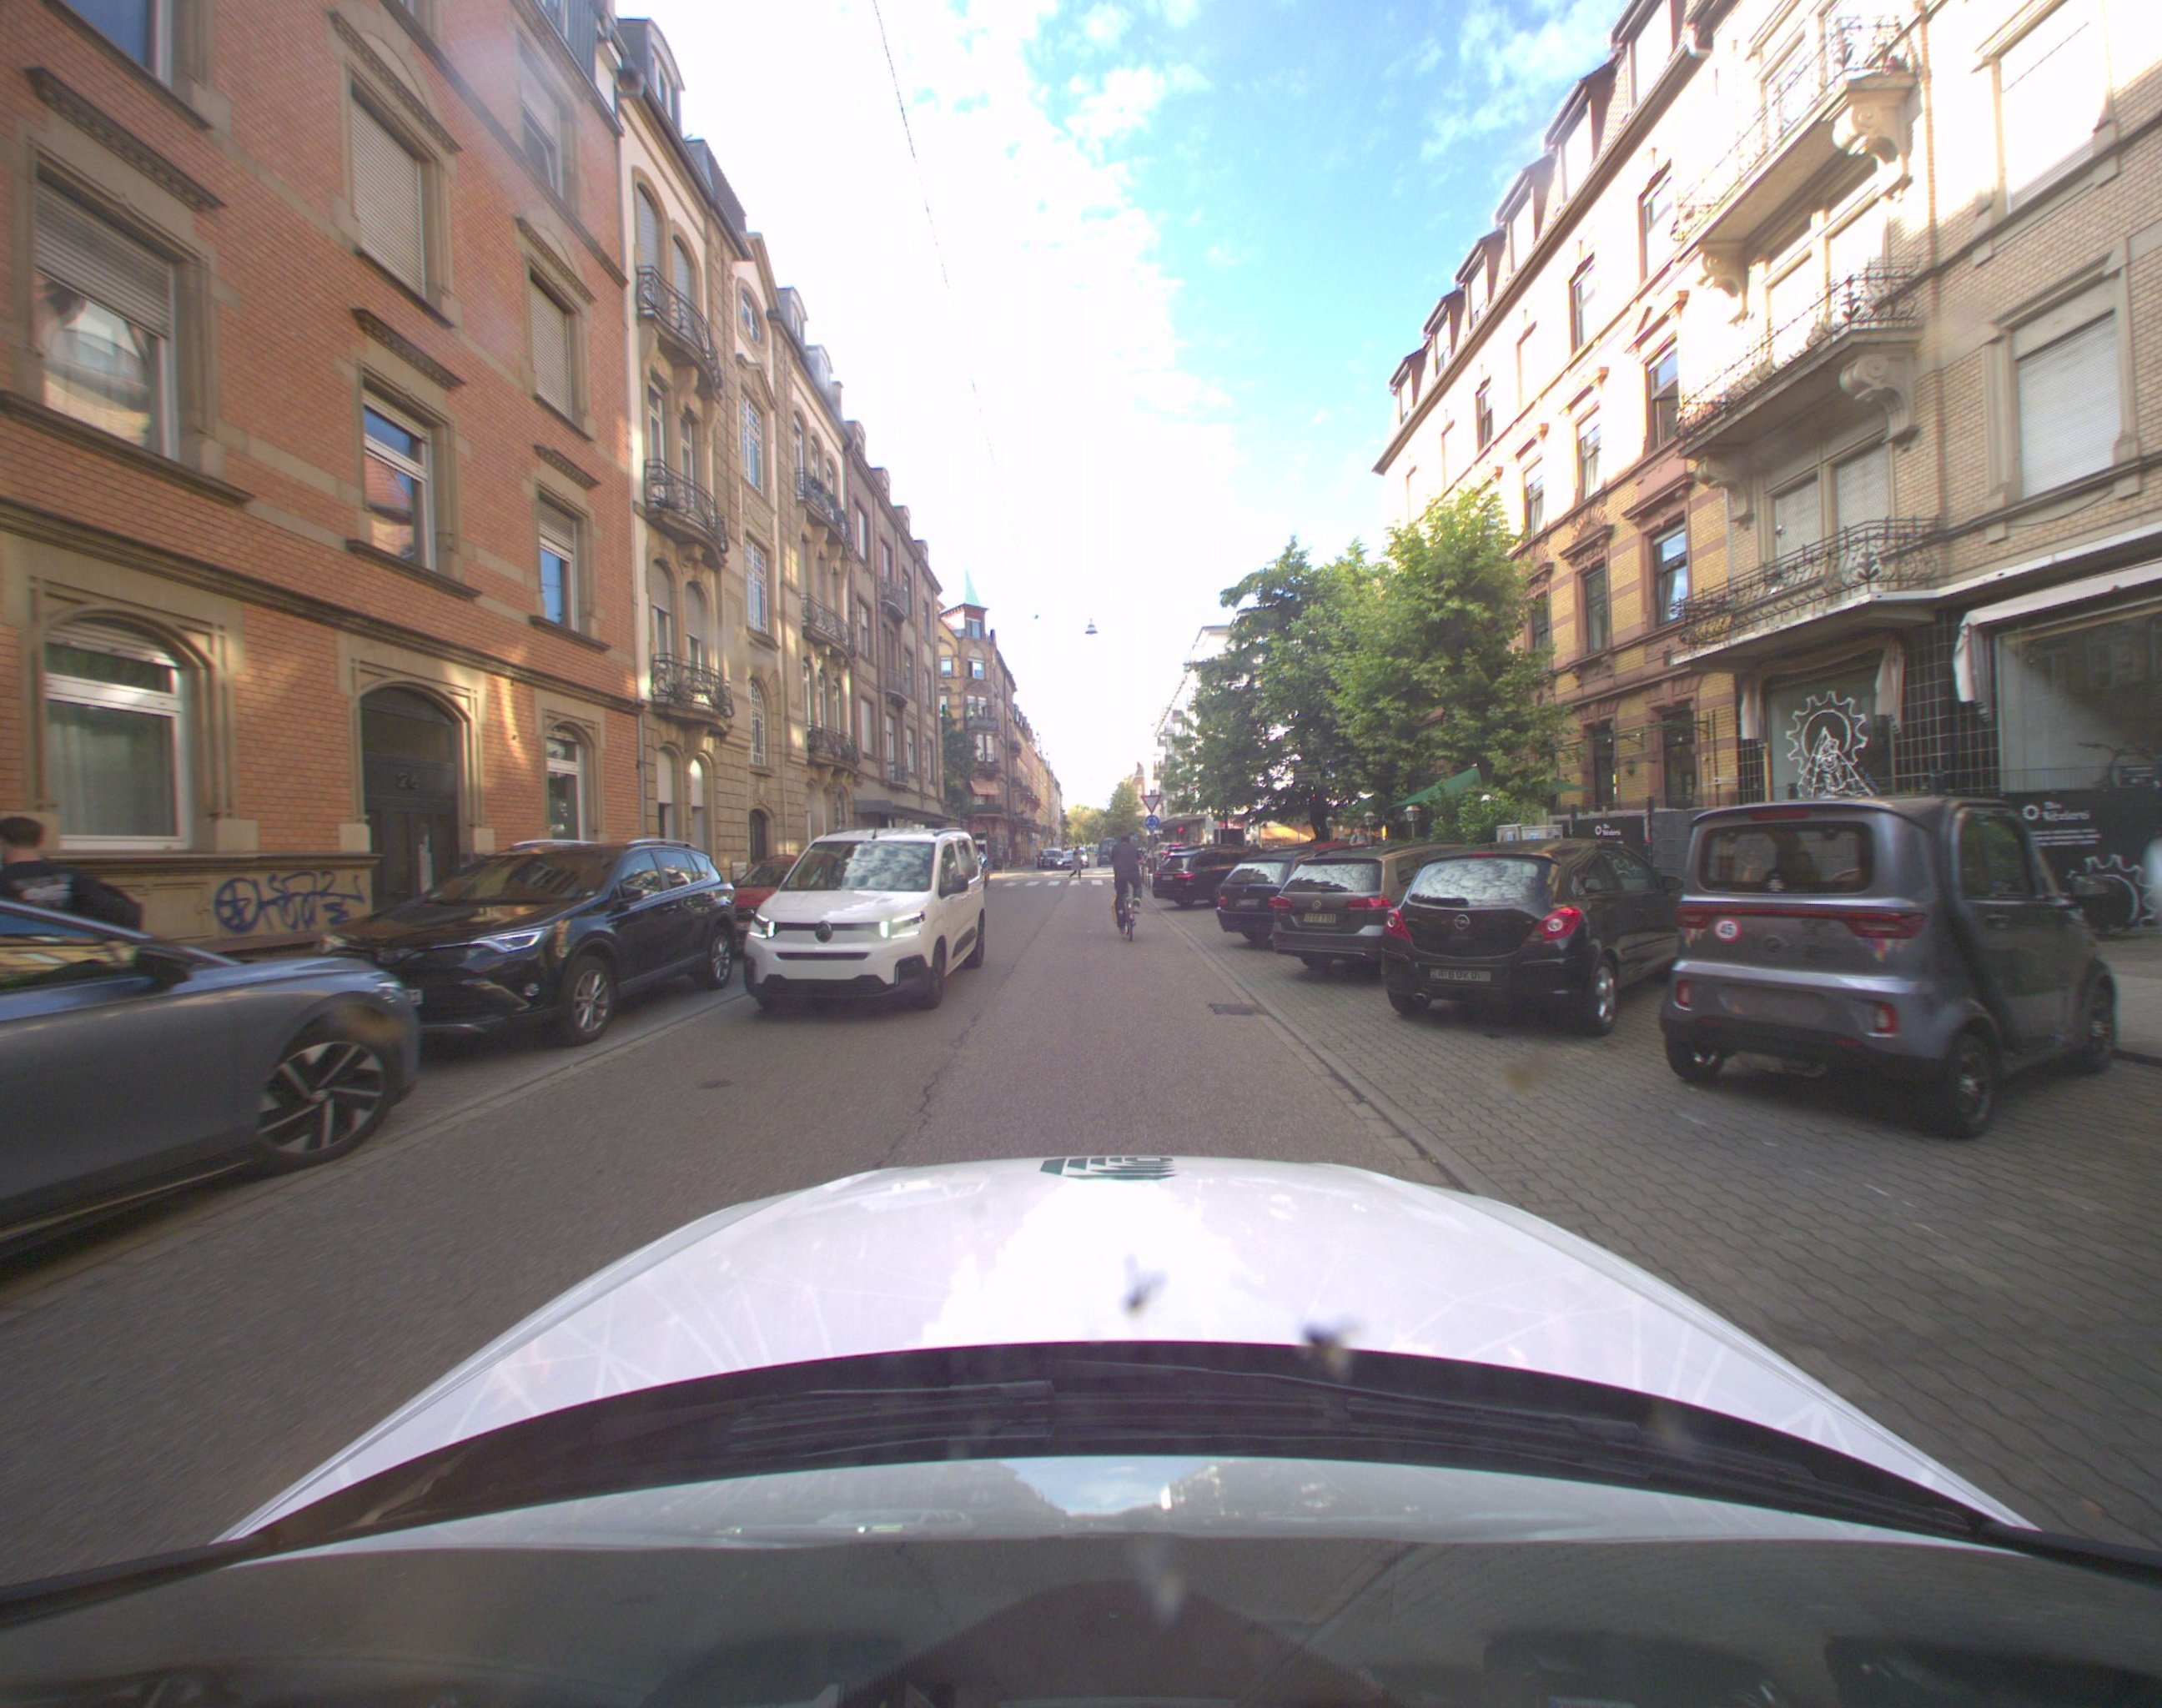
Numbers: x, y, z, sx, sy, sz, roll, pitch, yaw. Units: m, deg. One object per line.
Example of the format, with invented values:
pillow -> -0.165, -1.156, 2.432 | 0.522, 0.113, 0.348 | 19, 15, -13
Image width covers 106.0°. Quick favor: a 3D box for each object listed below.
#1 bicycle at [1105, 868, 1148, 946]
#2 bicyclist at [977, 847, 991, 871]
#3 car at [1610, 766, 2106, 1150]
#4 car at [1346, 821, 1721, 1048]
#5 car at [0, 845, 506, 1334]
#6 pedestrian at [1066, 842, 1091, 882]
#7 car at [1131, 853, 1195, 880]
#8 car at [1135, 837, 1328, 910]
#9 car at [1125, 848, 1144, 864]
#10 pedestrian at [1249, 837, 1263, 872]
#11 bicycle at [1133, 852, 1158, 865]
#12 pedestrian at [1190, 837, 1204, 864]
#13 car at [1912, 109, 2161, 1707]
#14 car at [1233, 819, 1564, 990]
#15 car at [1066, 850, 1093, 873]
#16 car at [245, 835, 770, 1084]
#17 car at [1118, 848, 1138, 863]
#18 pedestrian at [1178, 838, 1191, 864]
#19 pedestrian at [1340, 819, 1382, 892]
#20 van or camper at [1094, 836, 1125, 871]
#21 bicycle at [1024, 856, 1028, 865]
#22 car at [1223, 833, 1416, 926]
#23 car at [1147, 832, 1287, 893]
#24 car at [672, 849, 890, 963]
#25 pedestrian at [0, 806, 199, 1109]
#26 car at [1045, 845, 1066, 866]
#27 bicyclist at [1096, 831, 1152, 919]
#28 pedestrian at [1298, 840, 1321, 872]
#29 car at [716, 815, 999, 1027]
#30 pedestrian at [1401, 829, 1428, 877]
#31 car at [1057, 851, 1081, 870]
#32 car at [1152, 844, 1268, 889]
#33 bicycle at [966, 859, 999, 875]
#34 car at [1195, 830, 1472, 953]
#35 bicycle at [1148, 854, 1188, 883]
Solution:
bicycle -> 0.760, 0.864, 14.145 | 0.663, 1.178, 2.498 | -1, 0, 1
bicyclist -> -6.759, 0.343, 56.835 | 0.856, 1.665, 0.786 | -1, 0, -16
car -> 4.654, 0.427, 4.888 | 2.474, 1.666, 1.335 | -6, 2, -26
car -> 4.372, 0.527, 7.591 | 4.016, 1.459, 1.730 | -4, 1, -41
car -> -4.400, 0.774, 2.412 | 1.821, 1.578, 5.258 | -1, 0, -3
pedestrian -> -0.113, 0.376, 37.906 | 0.774, 1.779, 0.798 | -3, 0, 39
car -> 5.300, 0.791, 52.808 | 2.008, 1.618, 3.957 | -2, 0, -35
car -> 4.031, 0.450, 21.653 | 4.780, 1.456, 2.038 | -5, 2, -28
car -> 5.068, 0.147, 77.757 | 1.639, 1.324, 3.579 | -5, 0, 2
pedestrian -> 8.942, 0.019, 41.610 | 0.624, 1.739, 0.778 | -2, 0, 13
bicycle -> 5.332, 0.369, 67.445 | 1.992, 1.045, 0.532 | -3, 0, 3
pedestrian -> 8.230, -0.263, 57.837 | 0.864, 1.851, 0.613 | -2, 0, 6
car -> 3.985, 0.118, 1.812 | 5.179, 2.405, 1.898 | -3, 0, -33
car -> 4.171, 0.469, 10.326 | 4.492, 1.476, 1.867 | -6, 2, -39
car -> -0.095, 0.647, 71.546 | 1.935, 1.721, 4.854 | -4, 2, 3
car -> -4.873, 0.683, 8.071 | 1.868, 1.681, 4.890 | -1, 1, -3
car -> 5.146, 0.152, 89.226 | 1.986, 1.486, 4.002 | -3, 0, 2
pedestrian -> 7.346, -0.224, 57.924 | 0.864, 1.851, 0.613 | -2, 0, 6
pedestrian -> 7.458, 0.044, 21.725 | 0.835, 1.878, 0.724 | -2, 0, 5
van or camper -> 2.522, -0.055, 73.318 | 2.524, 3.037, 4.456 | -2, 0, -1
bicycle -> -5.952, 0.694, 87.713 | 0.359, 0.947, 1.713 | -1, 0, -4
car -> 4.773, 0.437, 16.107 | 3.738, 1.485, 1.722 | -4, 1, -37
car -> 4.636, 0.249, 27.628 | 4.363, 1.645, 1.806 | -5, 1, -26
car -> -4.792, 0.734, 13.809 | 1.987, 1.545, 4.426 | -2, 0, 0
pedestrian -> -6.610, 0.620, 5.311 | 0.753, 1.808, 0.864 | -1, 0, 4
car -> -2.656, 0.126, 84.772 | 1.988, 2.013, 3.998 | -3, 0, -1
bicyclist -> 0.744, 0.353, 14.206 | 0.930, 1.484, 0.747 | -1, 0, 1
pedestrian -> 9.767, 0.088, 34.846 | 0.755, 1.342, 0.596 | -2, 0, -4
car -> -2.185, 0.581, 9.365 | 1.910, 1.828, 4.439 | -1, 0, 1
pedestrian -> 11.217, -0.037, 27.392 | 0.627, 1.570, 0.570 | -2, 0, -3
car -> -0.930, 0.492, 63.104 | 1.745, 1.436, 4.210 | -1, 0, -1
car -> 4.803, 0.423, 30.261 | 3.953, 1.457, 1.754 | -2, 0, -28
bicycle -> -6.880, 0.898, 56.806 | 2.189, 1.092, 0.674 | -1, 0, -16
car -> 4.185, 0.492, 13.230 | 4.487, 1.464, 1.860 | -5, 2, -34
bicycle -> 3.415, 0.586, 32.272 | 0.551, 1.040, 1.840 | -6, 1, -28
